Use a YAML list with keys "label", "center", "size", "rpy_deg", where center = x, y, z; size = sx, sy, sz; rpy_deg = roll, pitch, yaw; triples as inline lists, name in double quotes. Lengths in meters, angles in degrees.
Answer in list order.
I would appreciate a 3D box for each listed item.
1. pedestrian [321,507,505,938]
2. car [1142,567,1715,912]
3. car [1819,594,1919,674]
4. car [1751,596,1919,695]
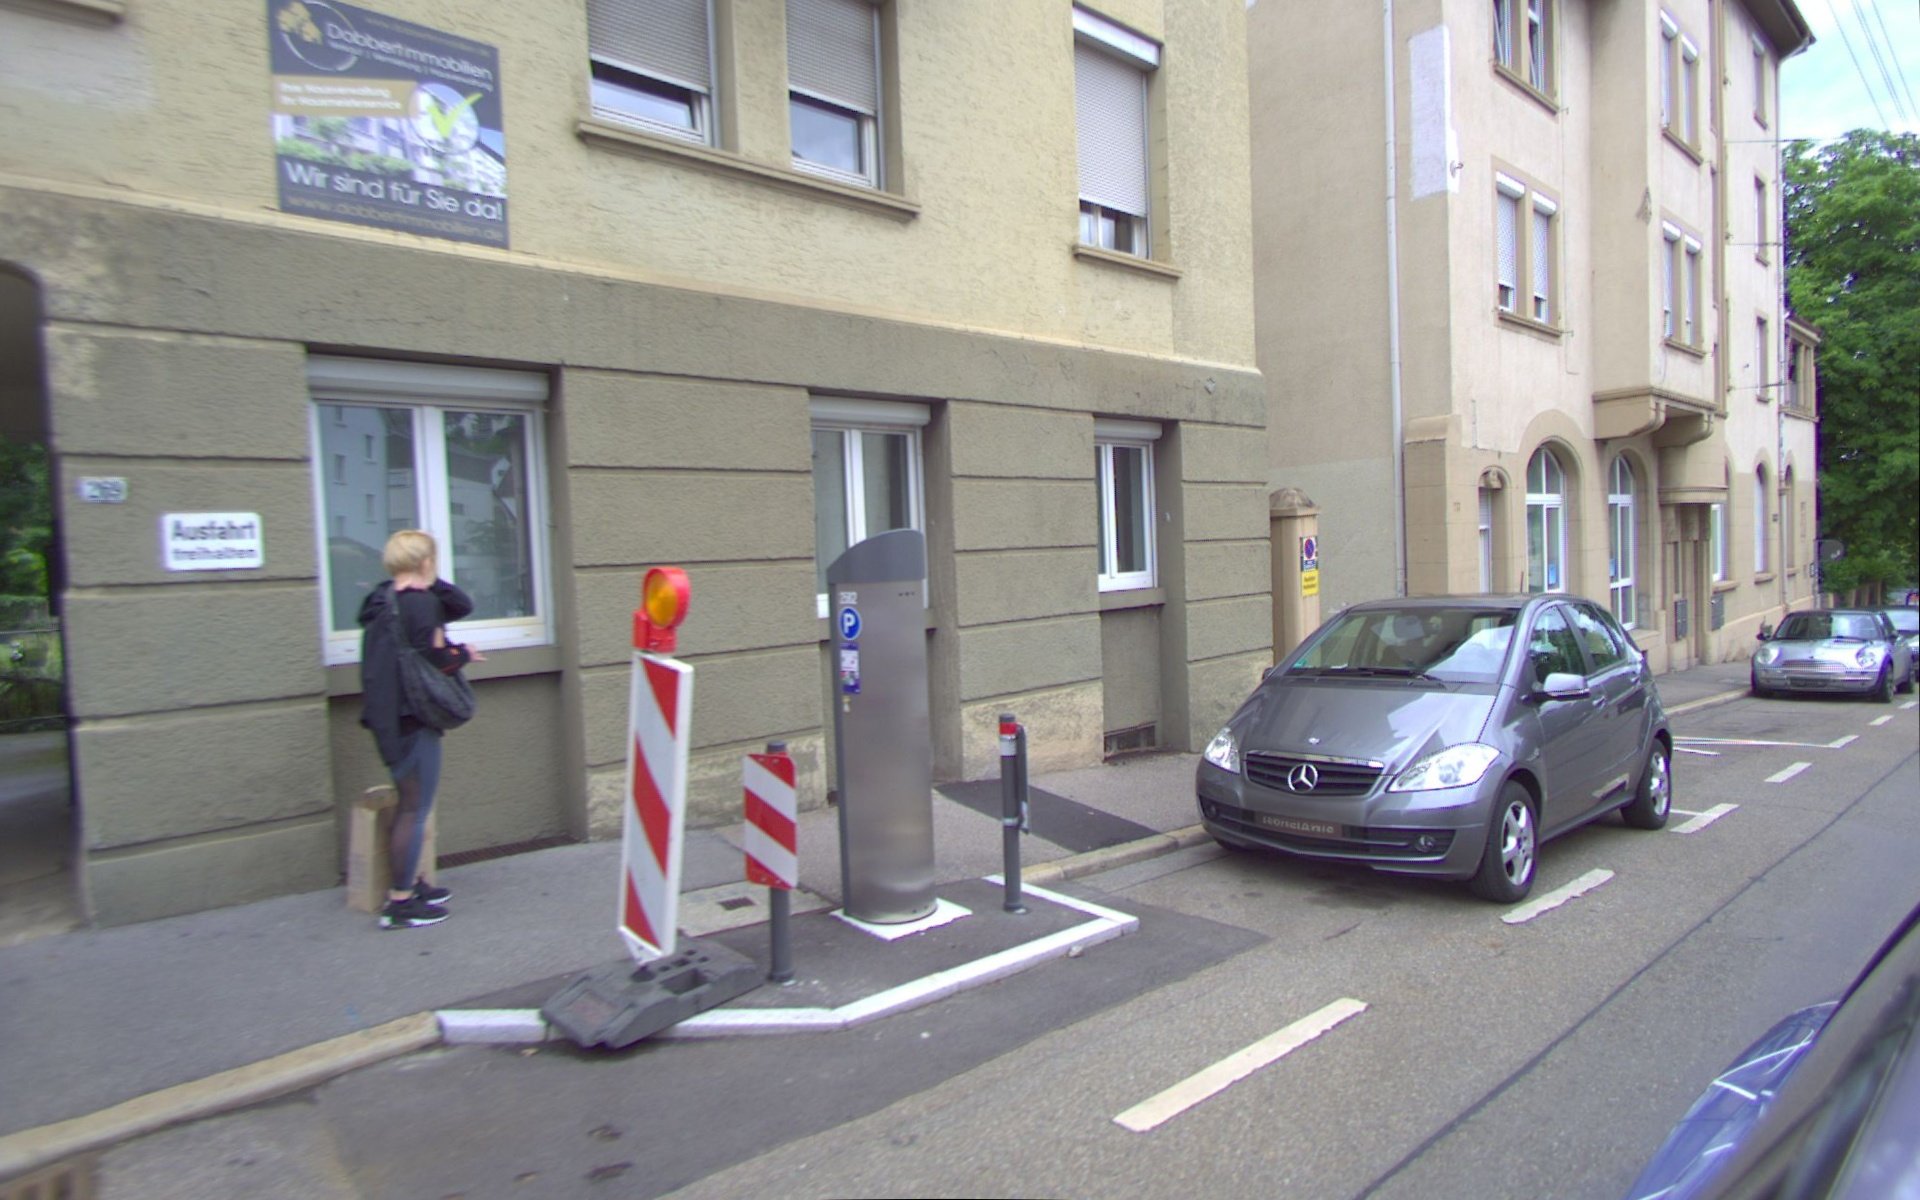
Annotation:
- label: "pedestrian"
  center: [-2.334, 0.464, 4.335]
  size: [0.540, 1.701, 0.509]
  rpy_deg: [5, 6, 41]
- label: "car"
  center: [3.171, 0.651, 6.517]
  size: [3.956, 1.538, 1.830]
  rpy_deg: [0, -2, -40]
- label: "car"
  center: [18.793, 0.618, 20.230]
  size: [4.095, 1.421, 1.842]
  rpy_deg: [-1, -1, -41]
- label: "car"
  center: [14.418, 0.685, 16.475]
  size: [3.602, 1.422, 1.698]
  rpy_deg: [0, -2, -40]
